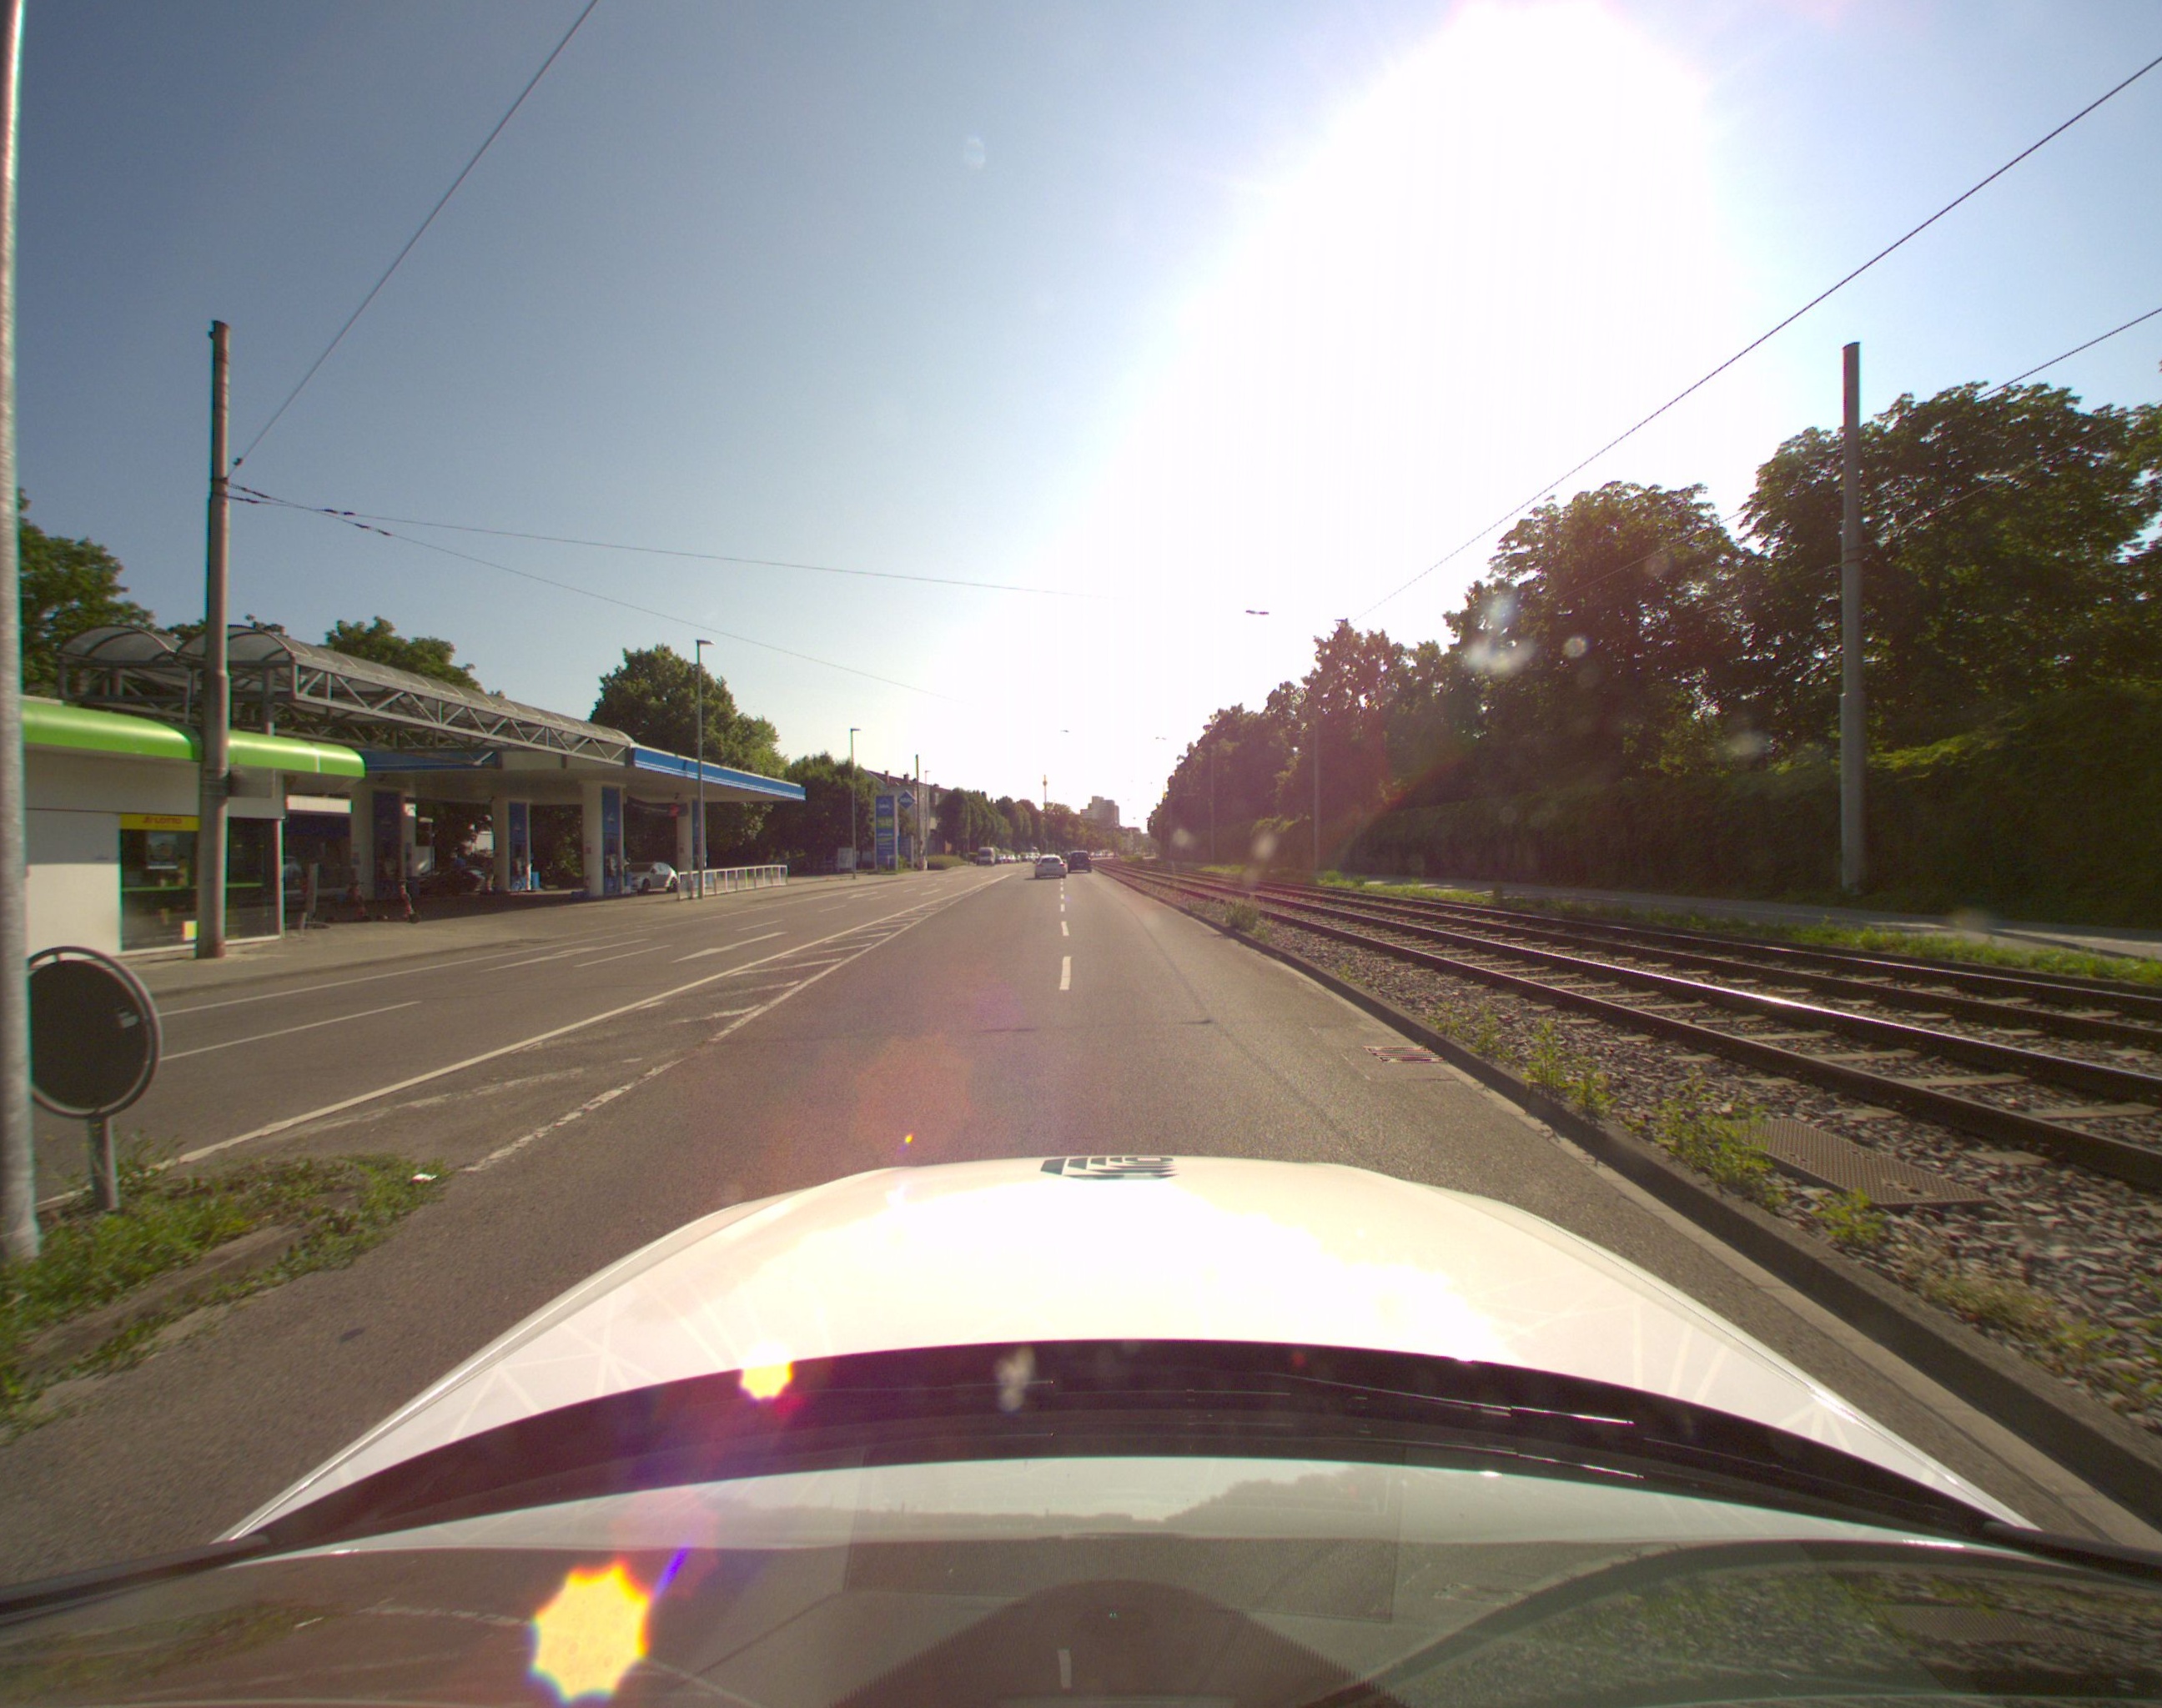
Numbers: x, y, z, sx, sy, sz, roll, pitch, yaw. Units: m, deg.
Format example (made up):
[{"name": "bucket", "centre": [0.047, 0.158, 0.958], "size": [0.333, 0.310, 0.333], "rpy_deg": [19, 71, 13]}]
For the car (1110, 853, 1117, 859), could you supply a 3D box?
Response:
[{"name": "car", "centre": [9.314, 0.559, 233.150], "size": [1.716, 1.593, 3.605], "rpy_deg": [1, 0, 4]}]

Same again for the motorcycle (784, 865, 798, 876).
[{"name": "motorcycle", "centre": [-25.711, 1.465, 72.208], "size": [0.669, 0.901, 1.670], "rpy_deg": [-1, 0, -1]}]

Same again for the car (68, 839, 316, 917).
[{"name": "car", "centre": [-24.184, 0.626, 22.299], "size": [4.522, 1.935, 2.000], "rpy_deg": [-1, 0, 0]}]

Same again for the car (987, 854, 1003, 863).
[{"name": "car", "centre": [-13.055, 0.672, 123.577], "size": [1.987, 1.416, 3.844], "rpy_deg": [-1, 0, 1]}]

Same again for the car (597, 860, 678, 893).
[{"name": "car", "centre": [-21.293, 1.045, 39.281], "size": [1.740, 1.393, 4.117], "rpy_deg": [-1, 0, -2]}]

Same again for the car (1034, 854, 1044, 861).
[{"name": "car", "centre": [-9.206, 0.833, 179.442], "size": [1.987, 1.416, 3.844], "rpy_deg": [-1, 0, 1]}]

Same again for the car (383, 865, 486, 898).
[{"name": "car", "centre": [-30.845, 1.267, 39.031], "size": [1.740, 1.393, 4.117], "rpy_deg": [-1, 0, -2]}]

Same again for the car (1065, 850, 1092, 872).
[{"name": "car", "centre": [-0.228, 0.537, 62.404], "size": [1.722, 1.593, 3.594], "rpy_deg": [1, 0, -6]}]

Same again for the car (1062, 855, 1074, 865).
[{"name": "car", "centre": [-1.940, 0.862, 122.311], "size": [1.744, 1.485, 3.599], "rpy_deg": [1, 0, -1]}]

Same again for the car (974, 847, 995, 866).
[{"name": "car", "centre": [-12.820, 0.349, 108.356], "size": [1.986, 2.376, 4.540], "rpy_deg": [-1, 0, 2]}]

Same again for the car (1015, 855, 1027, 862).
[{"name": "car", "centre": [-11.636, 0.878, 158.033], "size": [1.987, 1.416, 3.844], "rpy_deg": [-1, 0, 1]}]

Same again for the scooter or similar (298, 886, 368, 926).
[{"name": "scooter or similar", "centre": [-19.712, 1.357, 21.464], "size": [1.335, 0.985, 0.499], "rpy_deg": [-1, 0, -2]}]

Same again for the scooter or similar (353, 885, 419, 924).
[{"name": "scooter or similar", "centre": [-18.365, 1.329, 21.529], "size": [1.256, 0.987, 0.499], "rpy_deg": [-1, 0, -2]}]

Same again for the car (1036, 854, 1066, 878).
[{"name": "car", "centre": [-1.794, 0.686, 49.434], "size": [1.776, 1.356, 3.599], "rpy_deg": [1, 0, -2]}]
